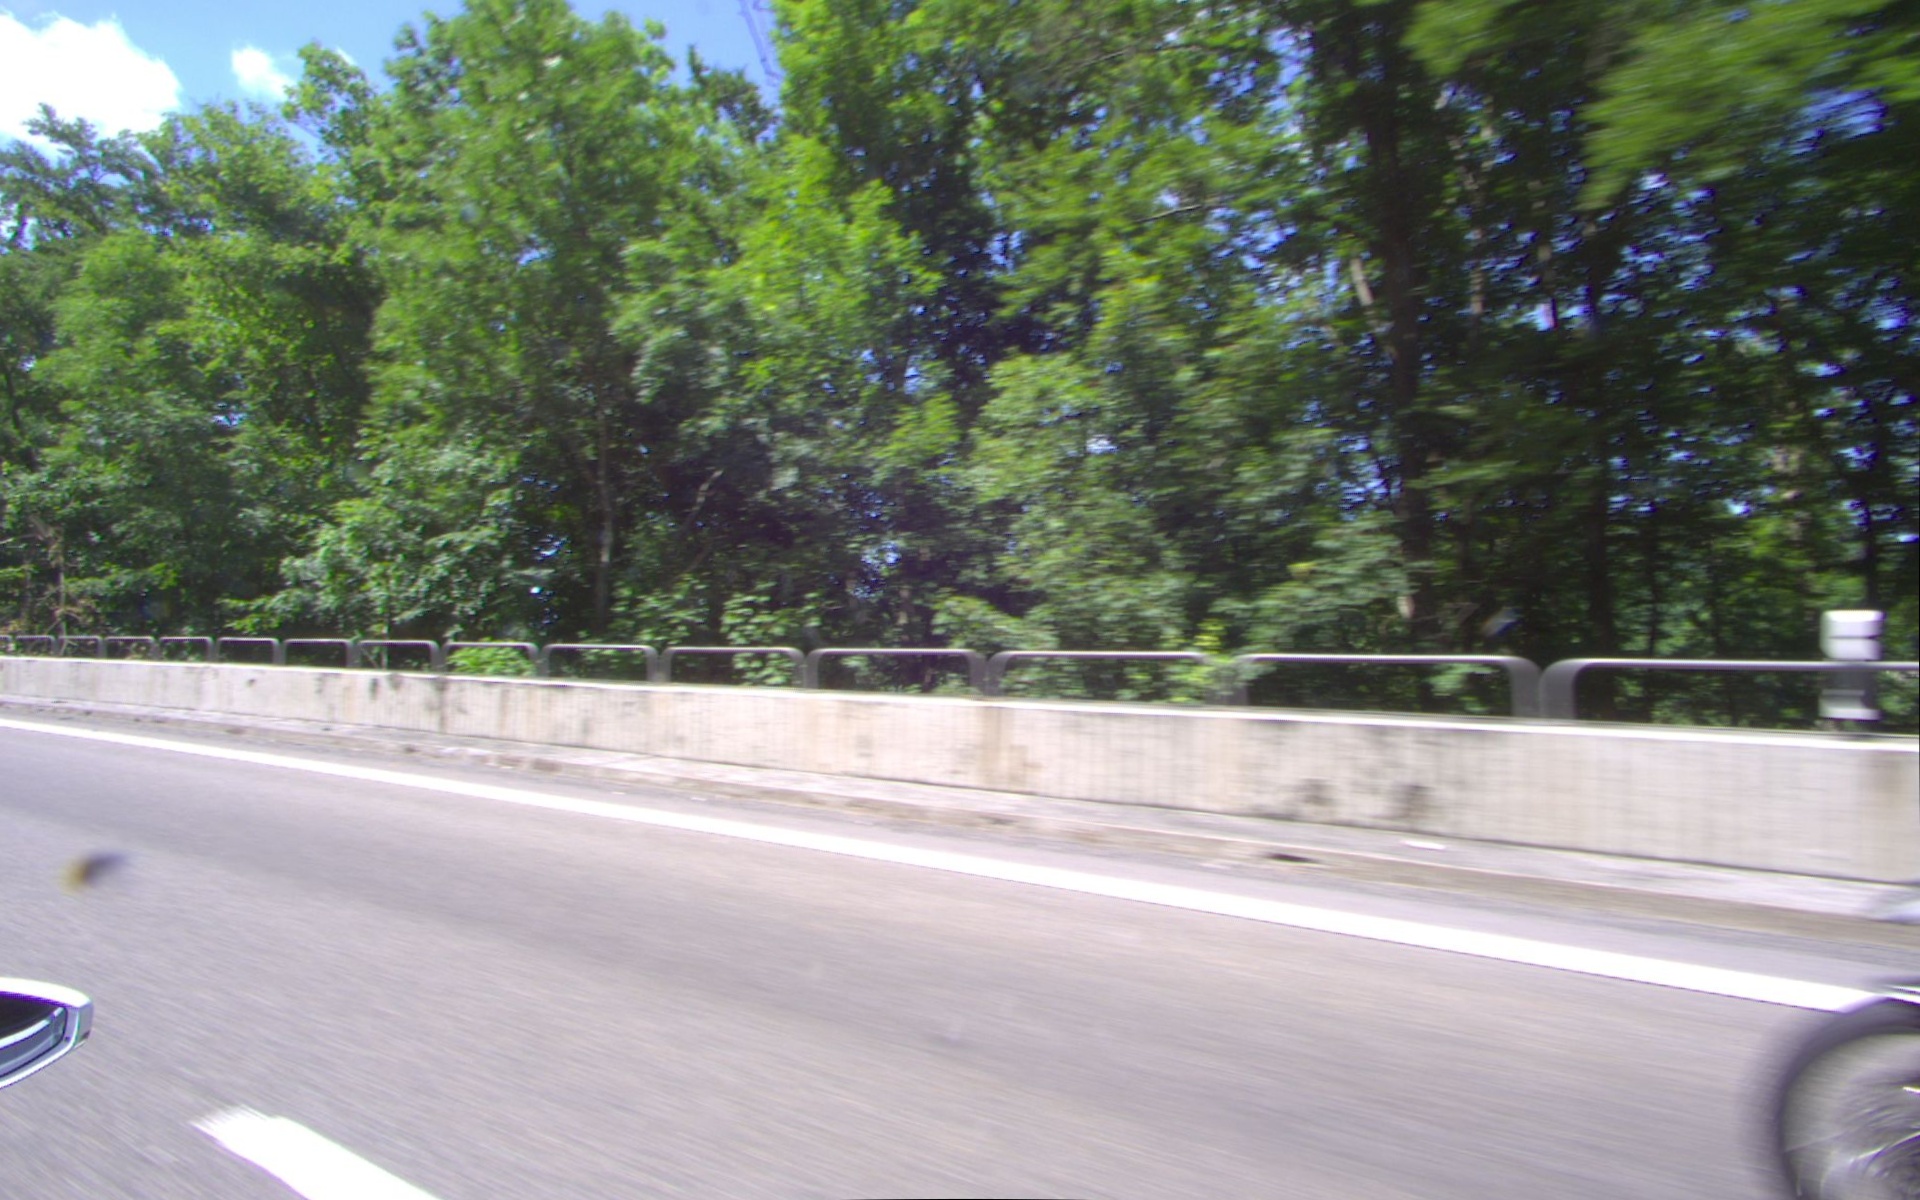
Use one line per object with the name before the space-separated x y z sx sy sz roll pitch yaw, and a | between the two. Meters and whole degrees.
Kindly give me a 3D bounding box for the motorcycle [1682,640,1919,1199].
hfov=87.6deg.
motorcycle | 2.794 0.796 1.596 2.645 1.438 0.970 -1 -2 36
